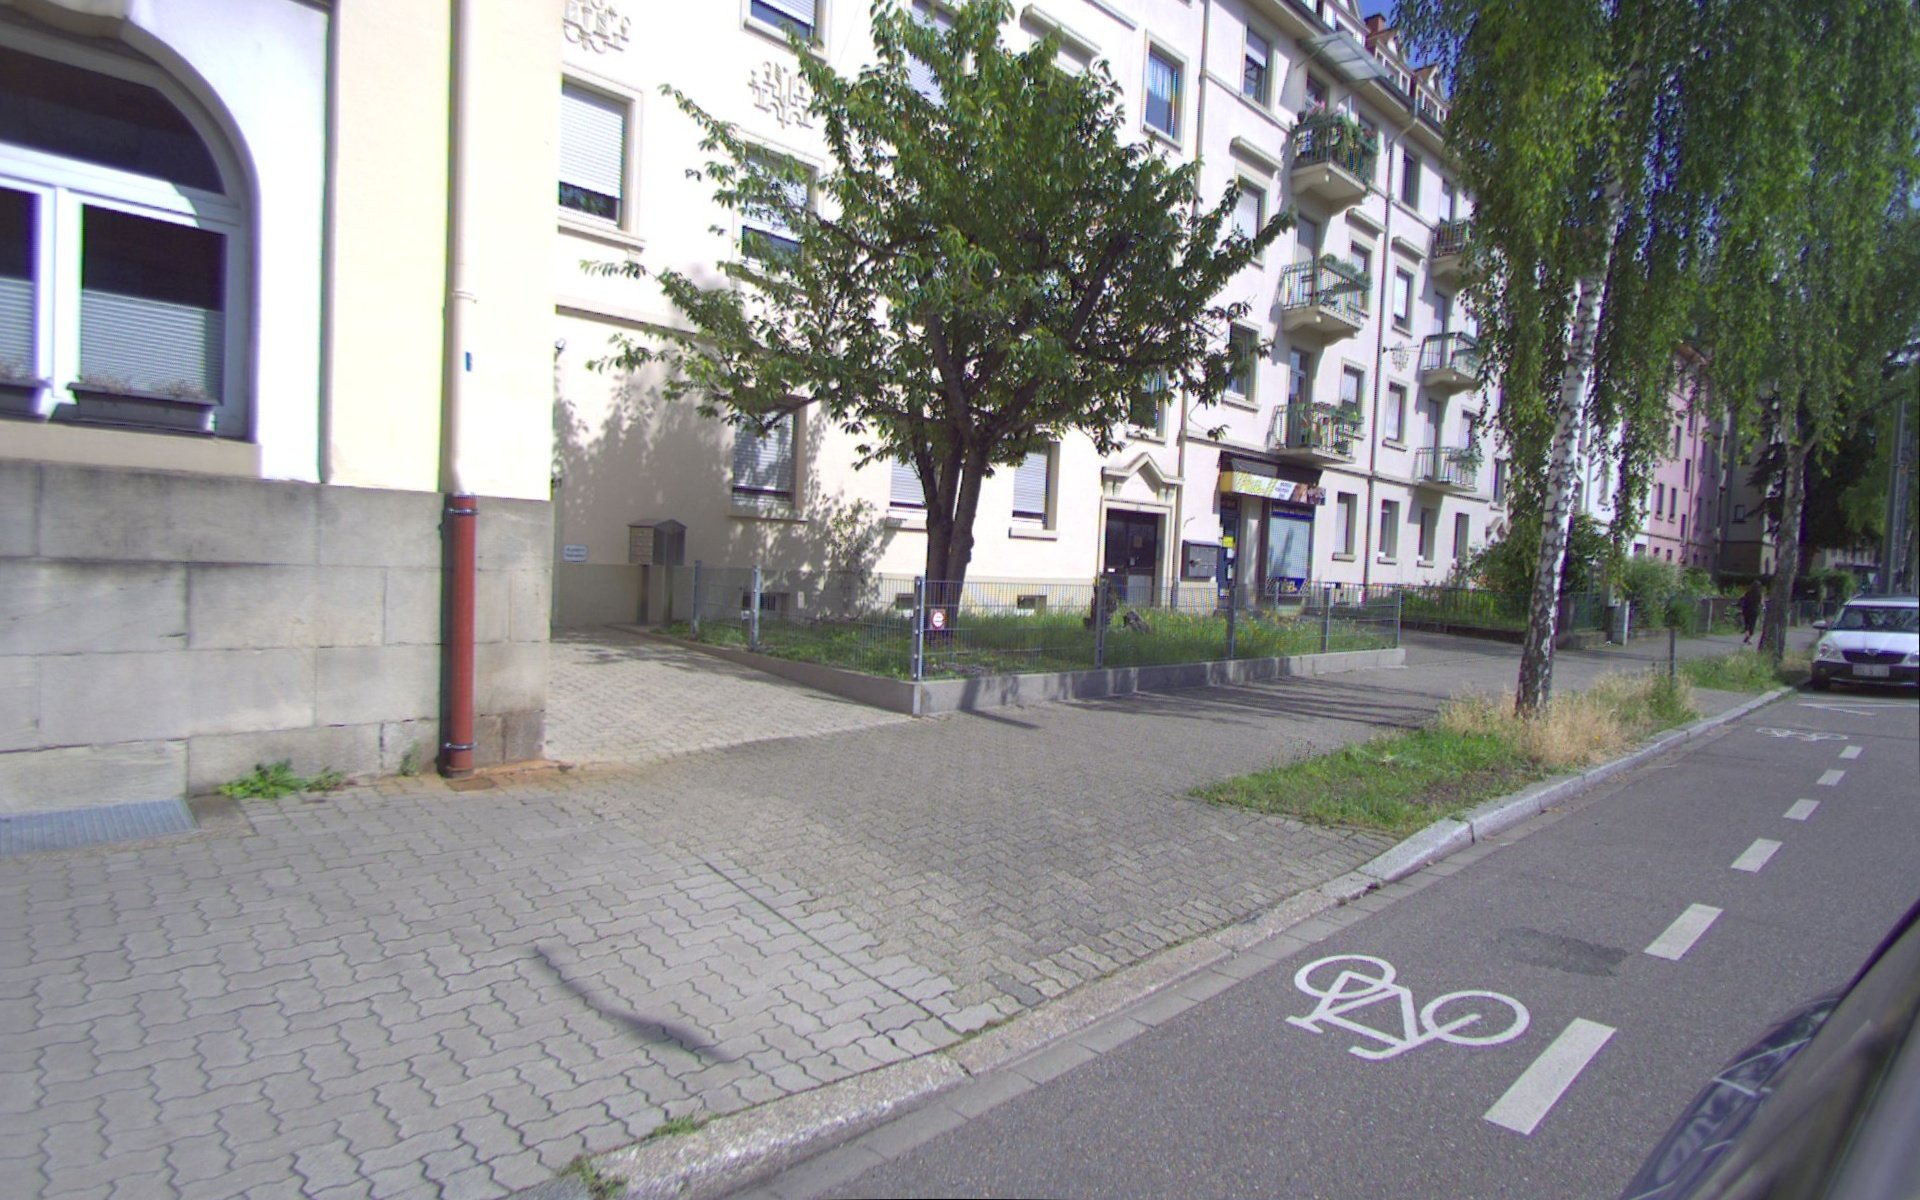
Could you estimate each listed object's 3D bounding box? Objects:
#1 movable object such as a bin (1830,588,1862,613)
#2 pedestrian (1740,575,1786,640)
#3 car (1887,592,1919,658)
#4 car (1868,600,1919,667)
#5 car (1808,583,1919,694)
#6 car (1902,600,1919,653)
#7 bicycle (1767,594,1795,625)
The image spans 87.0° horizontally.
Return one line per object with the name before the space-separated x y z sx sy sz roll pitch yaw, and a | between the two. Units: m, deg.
movable object such as a bin | 57.757 0.051 65.973 1.966 1.510 1.304 1 3 -43
pedestrian | 22.016 0.196 27.756 0.678 1.703 0.732 1 5 -40
car | 24.929 0.633 25.974 1.494 1.599 3.698 2 1 45
car | 21.875 0.722 22.955 3.733 1.435 1.674 0 1 -44
car | 15.589 0.573 16.780 3.930 1.650 1.724 0 1 -41
car | 28.248 0.740 29.039 3.780 1.471 1.590 0 0 -44
bicycle | 31.120 0.353 38.352 2.145 1.090 0.472 0 3 -42
